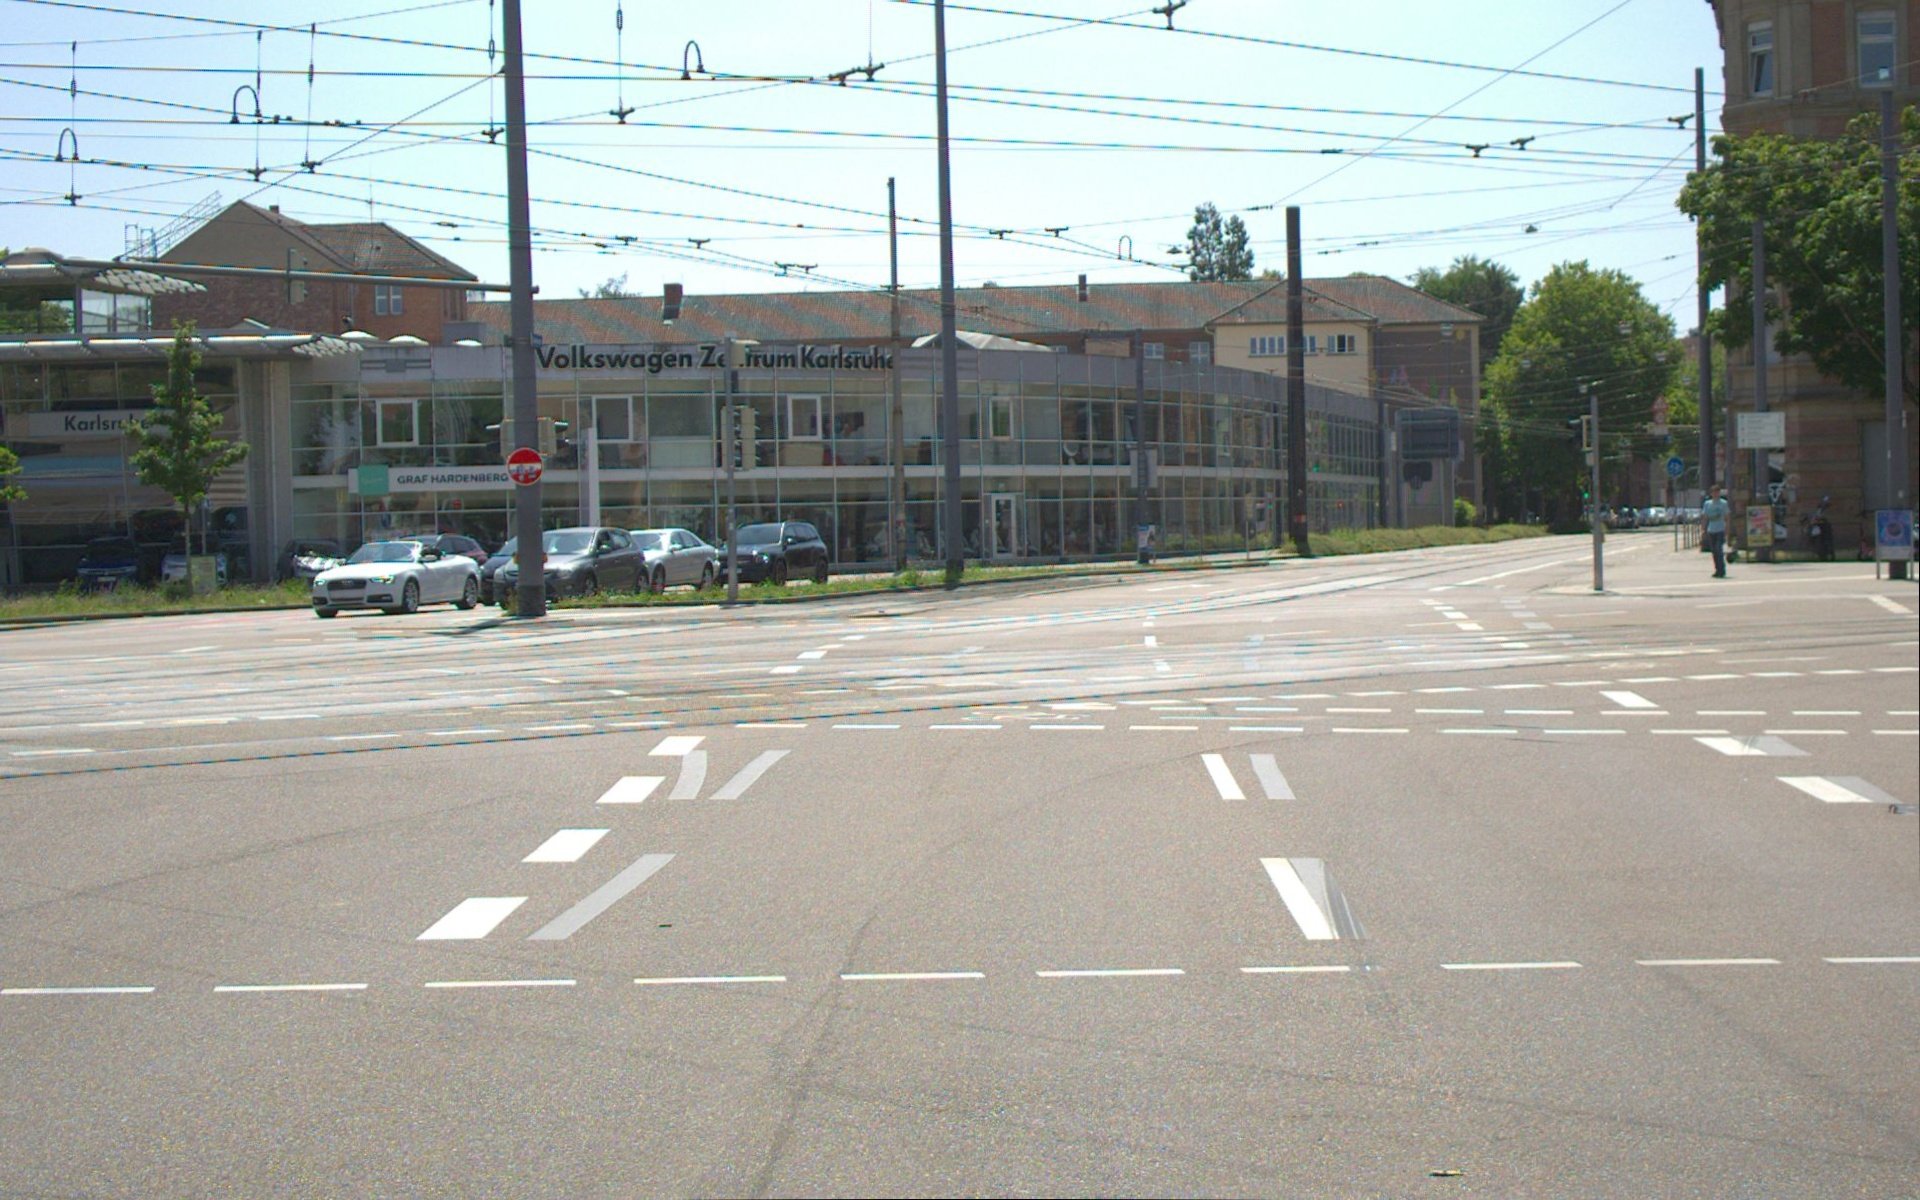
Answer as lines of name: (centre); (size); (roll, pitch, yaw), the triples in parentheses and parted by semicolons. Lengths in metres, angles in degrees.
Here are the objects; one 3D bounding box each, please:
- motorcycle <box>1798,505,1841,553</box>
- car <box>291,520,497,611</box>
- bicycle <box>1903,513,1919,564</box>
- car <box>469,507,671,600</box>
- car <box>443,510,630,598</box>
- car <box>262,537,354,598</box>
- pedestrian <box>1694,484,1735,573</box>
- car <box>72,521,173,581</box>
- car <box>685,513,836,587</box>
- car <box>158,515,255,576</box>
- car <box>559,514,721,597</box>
motorcycle: (19.773, -1.637, 79.117); (0.580, 1.071, 1.946); (-1, 1, 3)
car: (-10.501, -0.664, 64.195); (2.078, 1.574, 4.844); (-1, 1, 13)
bicycle: (22.059, -1.396, 78.971); (0.442, 1.142, 2.093); (1, 0, 6)
car: (-7.254, -0.893, 64.502); (1.995, 1.631, 4.843); (-1, 1, 17)
car: (-8.605, -0.960, 70.331); (1.995, 1.694, 4.843); (-1, 1, 17)
car: (-18.974, -0.944, 100.184); (1.920, 1.701, 4.000); (1, 0, 0)
pedestrian: (14.655, -1.386, 66.792); (0.461, 1.702, 0.640); (-2, 1, -26)
car: (-24.351, -1.410, 100.055); (1.920, 1.701, 4.000); (1, 0, 0)
car: (-4.772, -1.223, 83.129); (2.080, 1.677, 4.843); (-1, 1, 17)
car: (-21.895, -1.573, 100.047); (1.920, 1.701, 4.000); (1, 0, 0)
car: (-7.049, -1.013, 76.274); (1.995, 1.733, 4.540); (-1, 1, 17)
